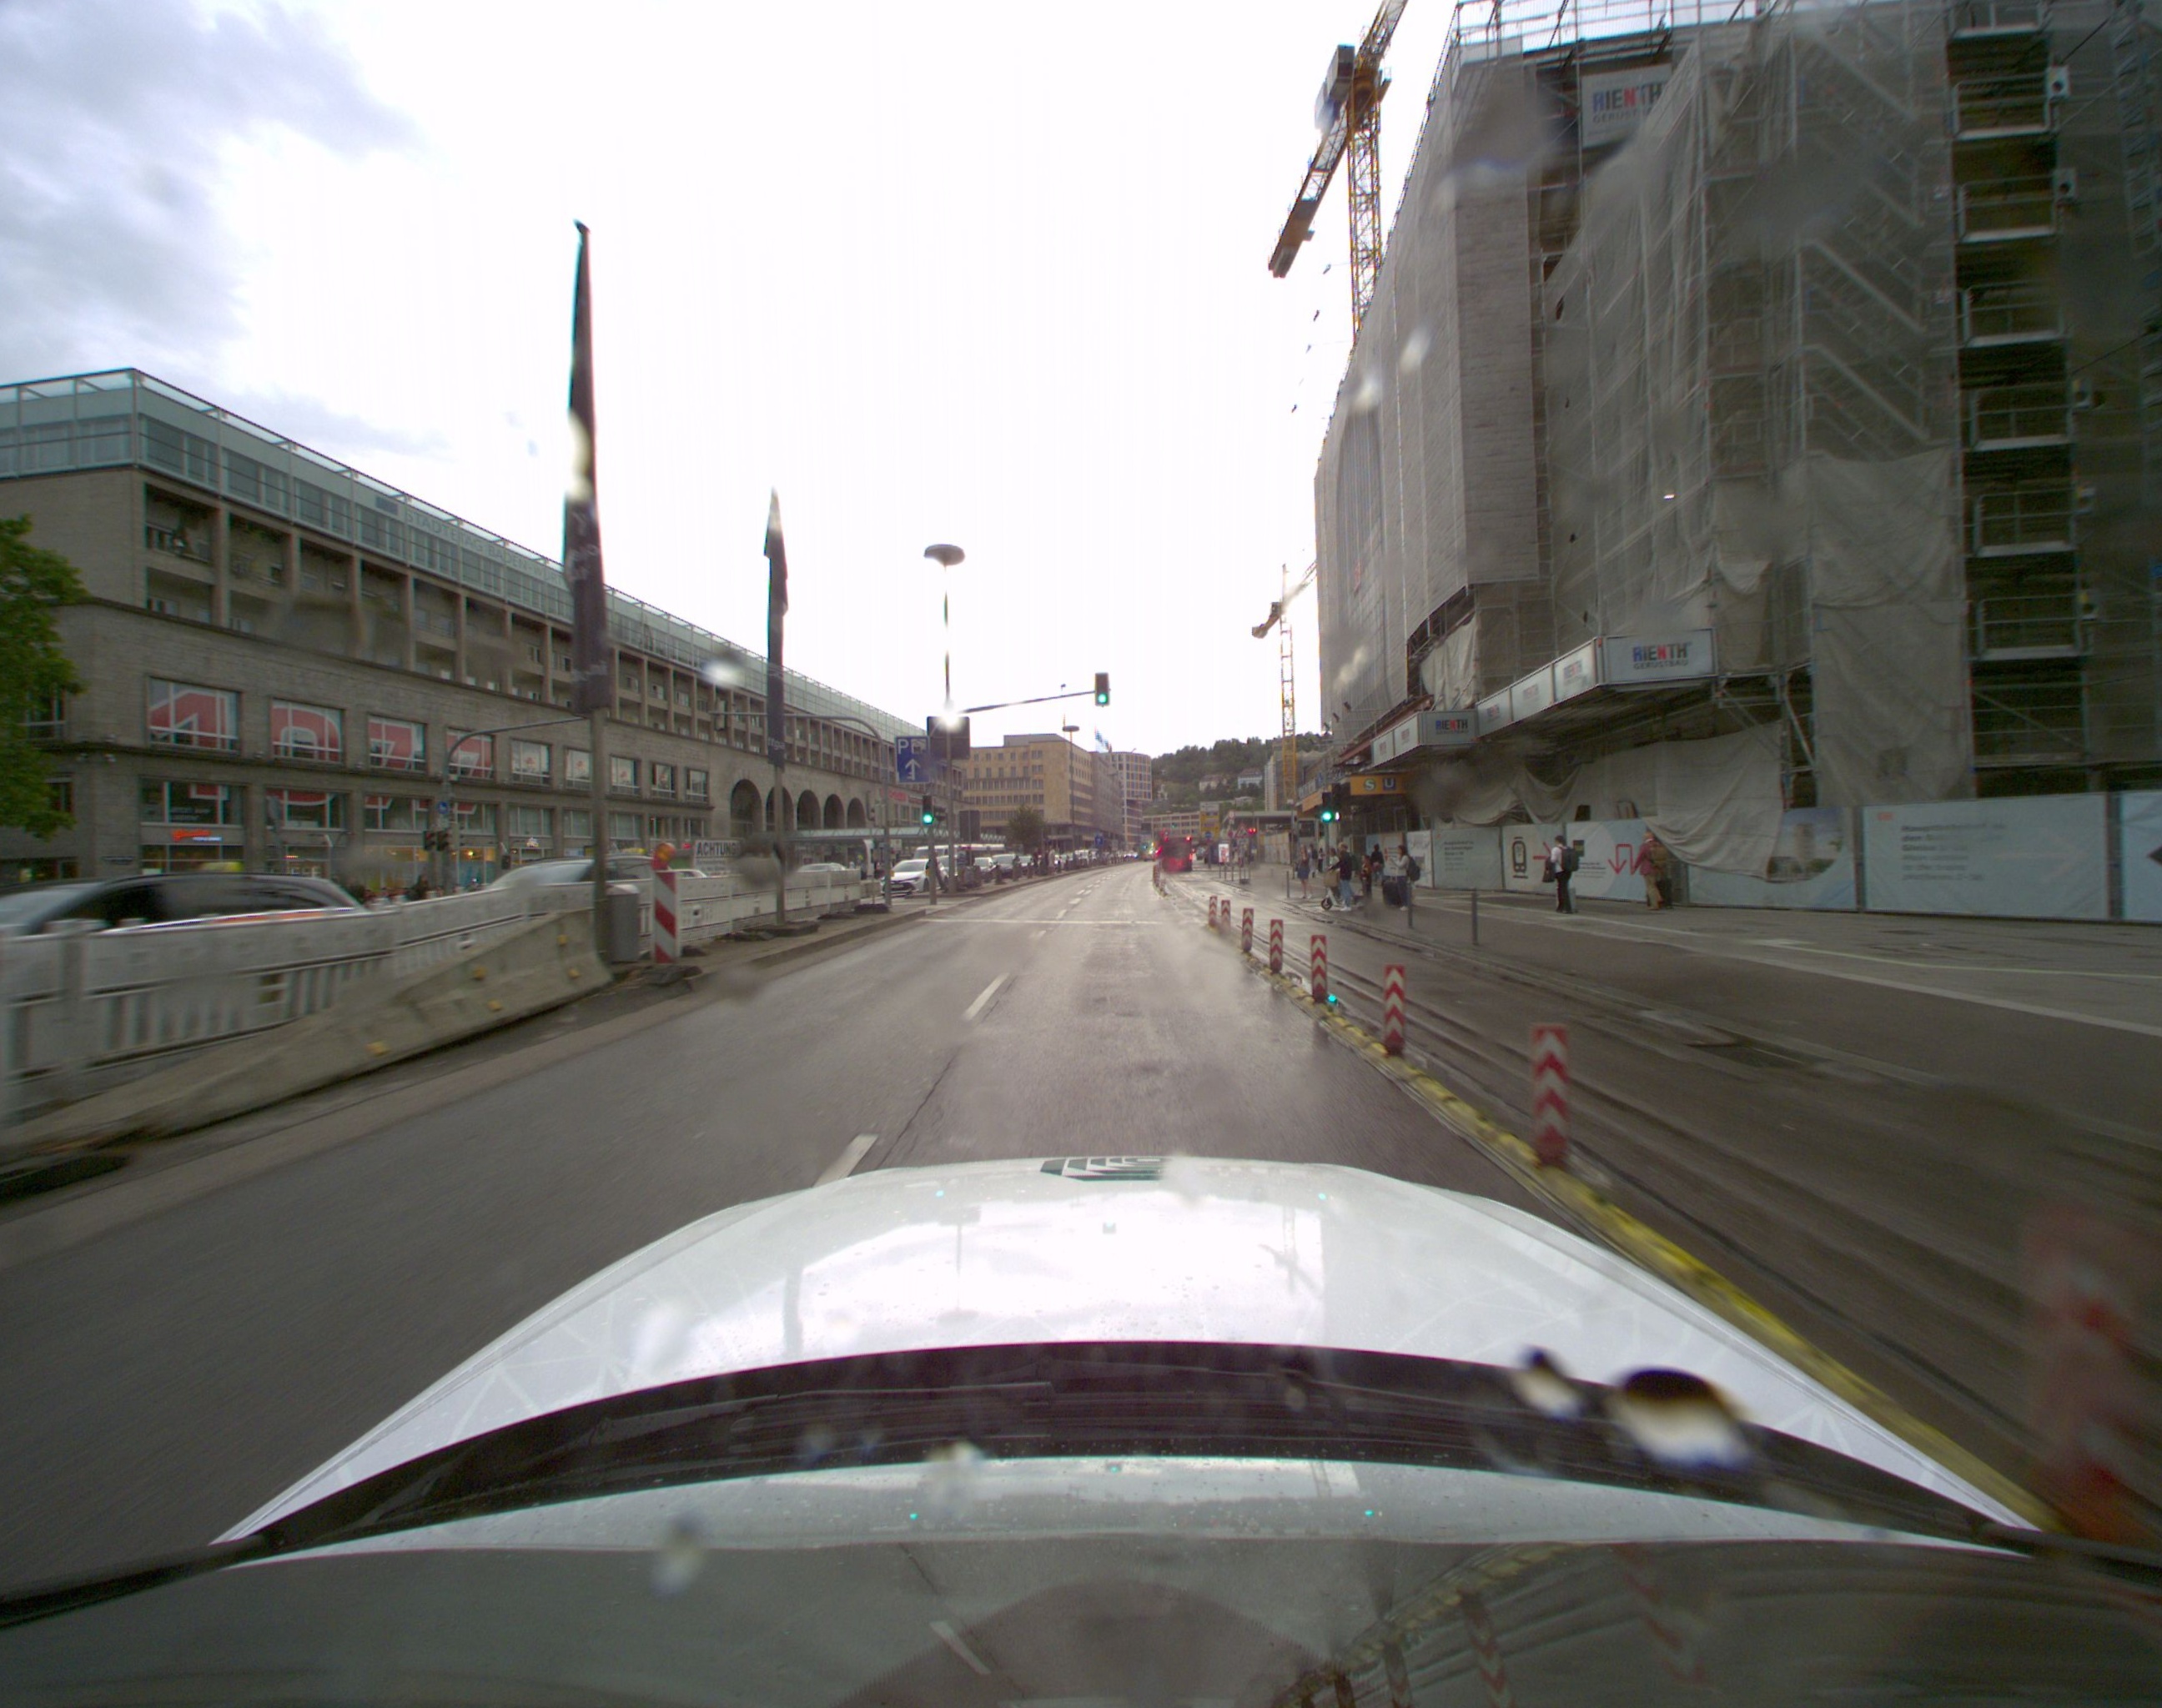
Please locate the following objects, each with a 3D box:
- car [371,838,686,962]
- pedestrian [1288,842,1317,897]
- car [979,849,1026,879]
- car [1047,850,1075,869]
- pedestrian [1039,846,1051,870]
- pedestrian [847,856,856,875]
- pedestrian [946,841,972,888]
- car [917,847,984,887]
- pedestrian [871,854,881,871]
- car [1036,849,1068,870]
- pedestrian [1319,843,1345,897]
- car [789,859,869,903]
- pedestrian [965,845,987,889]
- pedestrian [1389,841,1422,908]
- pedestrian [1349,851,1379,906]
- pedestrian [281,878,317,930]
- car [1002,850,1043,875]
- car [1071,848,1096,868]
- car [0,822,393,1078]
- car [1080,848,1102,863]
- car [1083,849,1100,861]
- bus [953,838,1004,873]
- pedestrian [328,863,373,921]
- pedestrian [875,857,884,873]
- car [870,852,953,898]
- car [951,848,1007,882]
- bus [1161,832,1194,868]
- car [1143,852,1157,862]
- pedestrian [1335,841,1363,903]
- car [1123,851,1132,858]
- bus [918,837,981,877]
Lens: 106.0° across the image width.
[{"bbox_3d":[-8.702,0.589,13.463,1.894,1.699,4.505,0,1,4],"label":"car"},{"bbox_3d":[7.327,0.514,26.976,0.557,1.759,0.750,-4,0,-7],"label":"pedestrian"},{"bbox_3d":[-4.782,0.574,50.401,1.920,1.690,4.690,-3,0,6],"label":"car"},{"bbox_3d":[-1.843,0.495,75.828,1.920,1.576,5.060,-3,0,6],"label":"car"},{"bbox_3d":[-2.507,0.281,56.466,0.719,1.606,0.998,0,1,6],"label":"pedestrian"},{"bbox_3d":[-18.186,0.897,64.473,0.586,1.507,0.621,0,1,-23],"label":"pedestrian"},{"bbox_3d":[-4.867,0.414,32.489,0.552,1.775,0.757,-4,0,40],"label":"pedestrian"},{"bbox_3d":[-6.176,0.574,39.141,1.920,1.690,4.690,-3,0,6],"label":"car"},{"bbox_3d":[-17.069,0.728,67.764,0.707,1.393,0.699,0,1,-20],"label":"pedestrian"},{"bbox_3d":[-2.420,0.460,70.057,1.966,1.659,5.201,-3,0,6],"label":"car"},{"bbox_3d":[7.829,0.493,25.447,0.555,1.641,0.754,-4,0,7],"label":"pedestrian"},{"bbox_3d":[-10.426,1.073,34.015,1.806,1.610,4.049,0,1,4],"label":"car"},{"bbox_3d":[-4.390,0.531,34.047,0.780,1.775,0.605,-4,0,-6],"label":"pedestrian"},{"bbox_3d":[8.203,0.514,20.608,0.555,1.650,0.616,-4,0,7],"label":"pedestrian"},{"bbox_3d":[7.809,0.658,22.516,0.555,1.449,0.713,-4,0,7],"label":"pedestrian"},{"bbox_3d":[-25.497,1.625,26.571,0.528,1.641,0.607,-4,0,-14],"label":"pedestrian"},{"bbox_3d":[-4.060,0.578,57.466,1.920,1.576,5.270,-3,0,6],"label":"car"},{"bbox_3d":[0.309,0.439,92.714,1.982,2.178,5.557,-2,0,8],"label":"car"},{"bbox_3d":[-8.887,0.695,6.987,1.894,1.898,4.528,0,1,4],"label":"car"},{"bbox_3d":[1.201,0.187,98.021,1.982,1.722,4.793,-2,0,8],"label":"car"},{"bbox_3d":[1.400,0.081,110.727,1.984,1.552,4.005,-2,0,4],"label":"car"},{"bbox_3d":[-10.750,0.122,86.723,2.862,3.459,10.596,-1,0,7],"label":"bus"},{"bbox_3d":[-22.257,1.157,24.828,0.746,1.685,0.560,-4,0,3],"label":"pedestrian"},{"bbox_3d":[-17.440,0.925,70.547,0.708,1.393,0.698,0,1,-23],"label":"pedestrian"},{"bbox_3d":[-6.784,0.794,33.257,2.006,1.621,4.848,-1,1,4],"label":"car"},{"bbox_3d":[-5.550,0.555,44.854,1.920,1.690,4.690,-3,0,6],"label":"car"},{"bbox_3d":[8.785,-0.326,73.812,2.740,3.068,9.098,0,0,7],"label":"bus"},{"bbox_3d":[11.857,0.482,140.049,1.982,1.552,4.009,-2,0,8],"label":"car"},{"bbox_3d":[7.839,0.511,23.845,0.555,1.752,0.713,-4,0,7],"label":"pedestrian"},{"bbox_3d":[12.260,0.084,212.731,1.951,1.564,4.845,-4,0,7],"label":"car"},{"bbox_3d":[-12.052,0.203,76.094,2.862,3.376,10.596,-1,0,7],"label":"bus"}]
